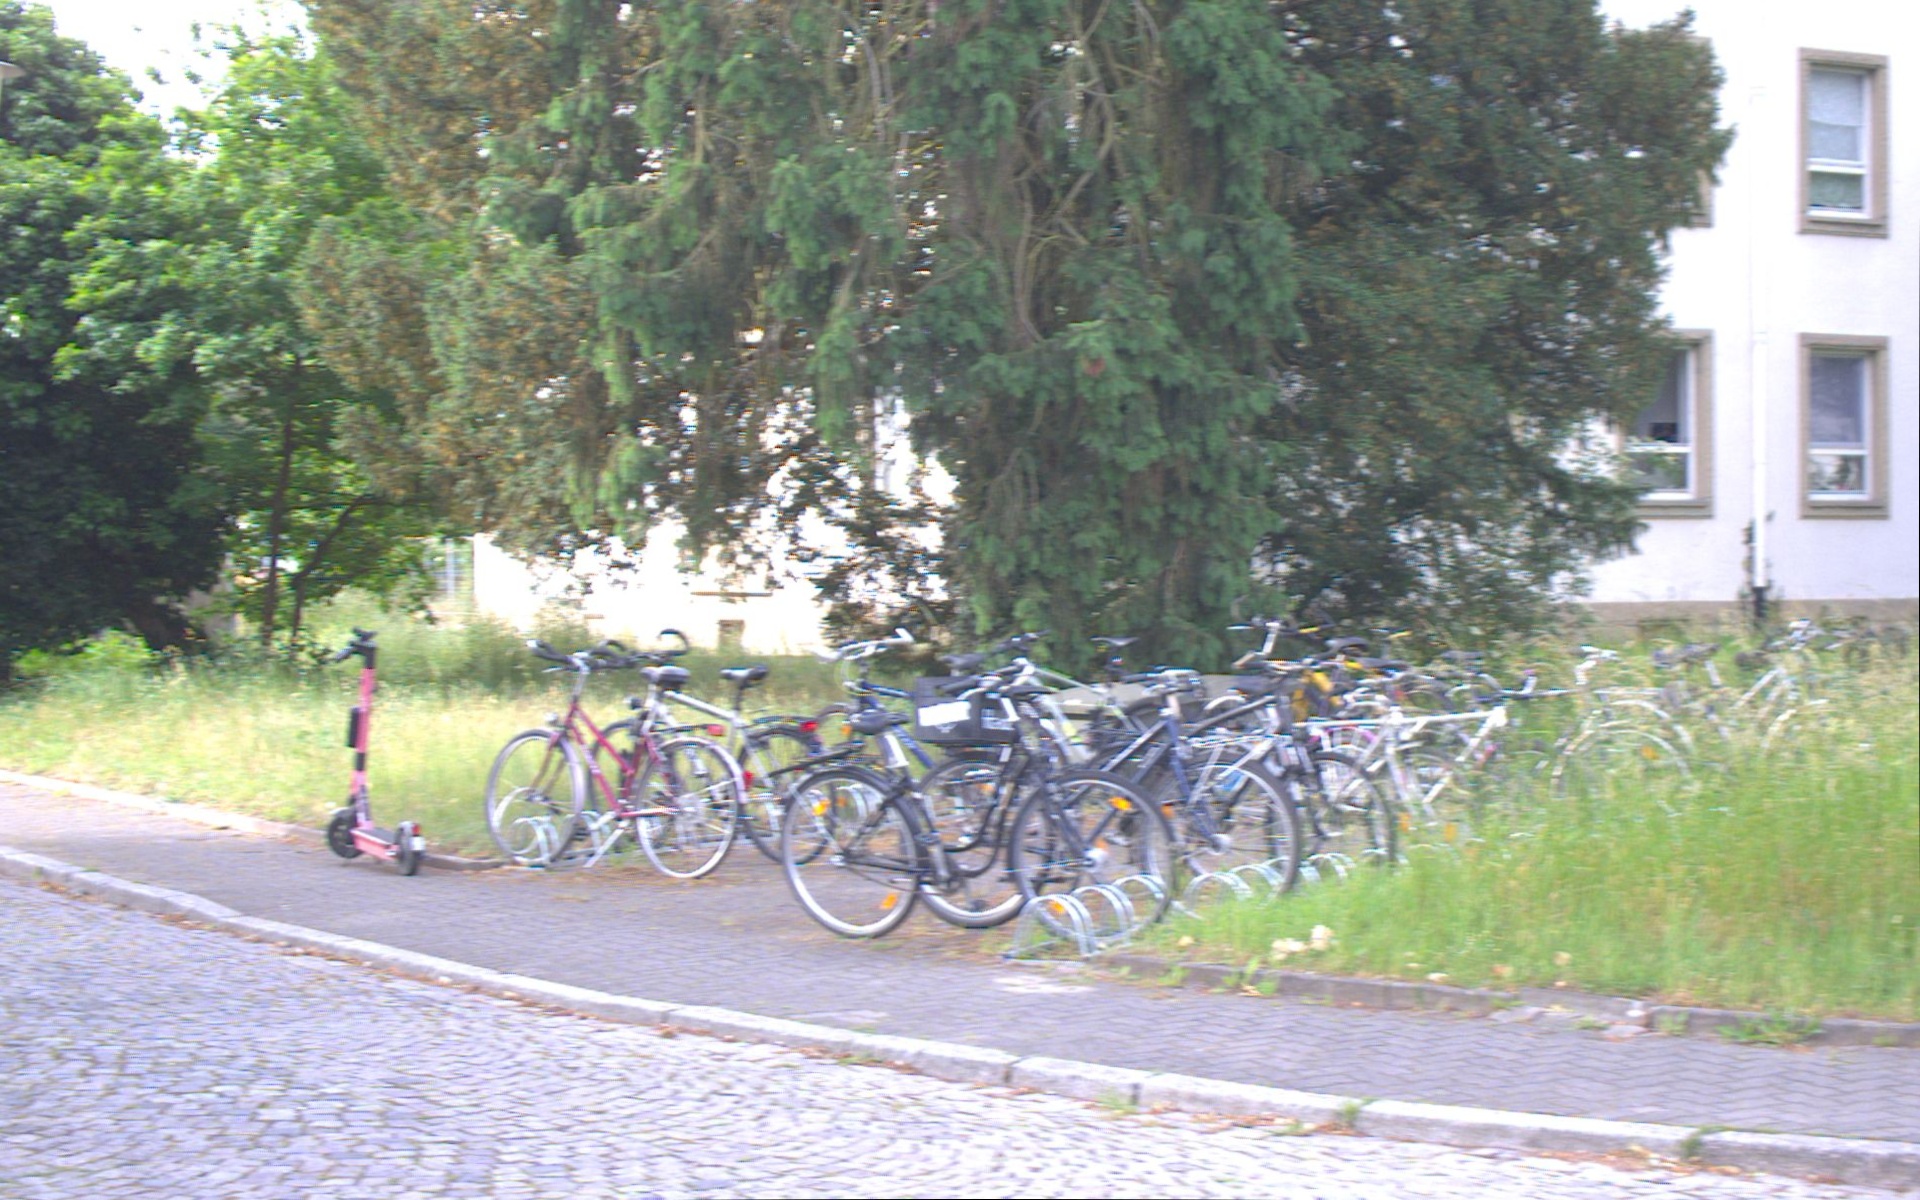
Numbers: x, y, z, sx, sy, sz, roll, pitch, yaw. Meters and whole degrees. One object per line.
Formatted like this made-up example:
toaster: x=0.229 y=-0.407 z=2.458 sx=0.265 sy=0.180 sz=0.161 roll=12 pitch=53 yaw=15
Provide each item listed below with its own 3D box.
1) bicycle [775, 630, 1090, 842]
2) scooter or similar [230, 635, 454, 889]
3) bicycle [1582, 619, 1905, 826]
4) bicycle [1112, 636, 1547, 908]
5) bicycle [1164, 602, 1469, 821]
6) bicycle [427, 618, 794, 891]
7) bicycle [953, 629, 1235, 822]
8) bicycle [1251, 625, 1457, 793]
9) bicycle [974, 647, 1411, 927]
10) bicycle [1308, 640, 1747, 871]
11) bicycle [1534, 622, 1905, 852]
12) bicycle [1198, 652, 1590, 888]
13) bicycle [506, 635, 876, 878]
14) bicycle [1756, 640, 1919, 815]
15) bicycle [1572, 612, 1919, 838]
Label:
bicycle: x=-0.156 y=0.715 z=18.530 sx=1.627 sy=1.070 sz=0.539 roll=0 pitch=3 yaw=30
scooter or similar: x=-3.160 y=0.792 z=17.474 sx=0.680 sy=1.191 sz=1.553 roll=-2 pitch=1 yaw=-27
bicycle: x=4.253 y=0.653 z=18.725 sx=1.620 sy=1.055 sz=0.525 roll=-1 pitch=2 yaw=41
bicycle: x=1.618 y=0.735 z=15.237 sx=1.797 sy=1.099 sz=0.701 roll=-1 pitch=2 yaw=41
bicycle: x=2.037 y=0.619 z=19.737 sx=1.642 sy=1.181 sz=0.573 roll=0 pitch=3 yaw=34
bicycle: x=-1.744 y=0.729 z=16.971 sx=1.900 sy=1.218 sz=0.642 roll=1 pitch=3 yaw=41
bicycle: x=0.762 y=0.700 z=19.670 sx=1.514 sy=1.032 sz=0.544 roll=0 pitch=3 yaw=30
bicycle: x=2.471 y=0.681 z=21.624 sx=1.262 sy=1.025 sz=0.433 roll=-1 pitch=-2 yaw=41
bicycle: x=0.984 y=0.776 z=14.813 sx=1.772 sy=1.099 sz=0.701 roll=-1 pitch=2 yaw=41
bicycle: x=2.677 y=0.715 z=16.368 sx=1.958 sy=1.001 sz=0.685 roll=-1 pitch=2 yaw=41
bicycle: x=3.871 y=0.686 z=17.616 sx=1.775 sy=1.101 sz=0.540 roll=-1 pitch=2 yaw=41
bicycle: x=1.989 y=0.761 z=15.880 sx=1.695 sy=0.998 sz=0.631 roll=-1 pitch=2 yaw=41
bicycle: x=-1.394 y=0.771 z=17.564 sx=1.990 sy=1.110 sz=0.642 roll=1 pitch=3 yaw=41
bicycle: x=5.184 y=0.685 z=18.607 sx=1.620 sy=0.908 sz=0.525 roll=-1 pitch=2 yaw=41
bicycle: x=4.128 y=0.645 z=18.107 sx=1.700 sy=1.112 sz=0.540 roll=-1 pitch=2 yaw=41
